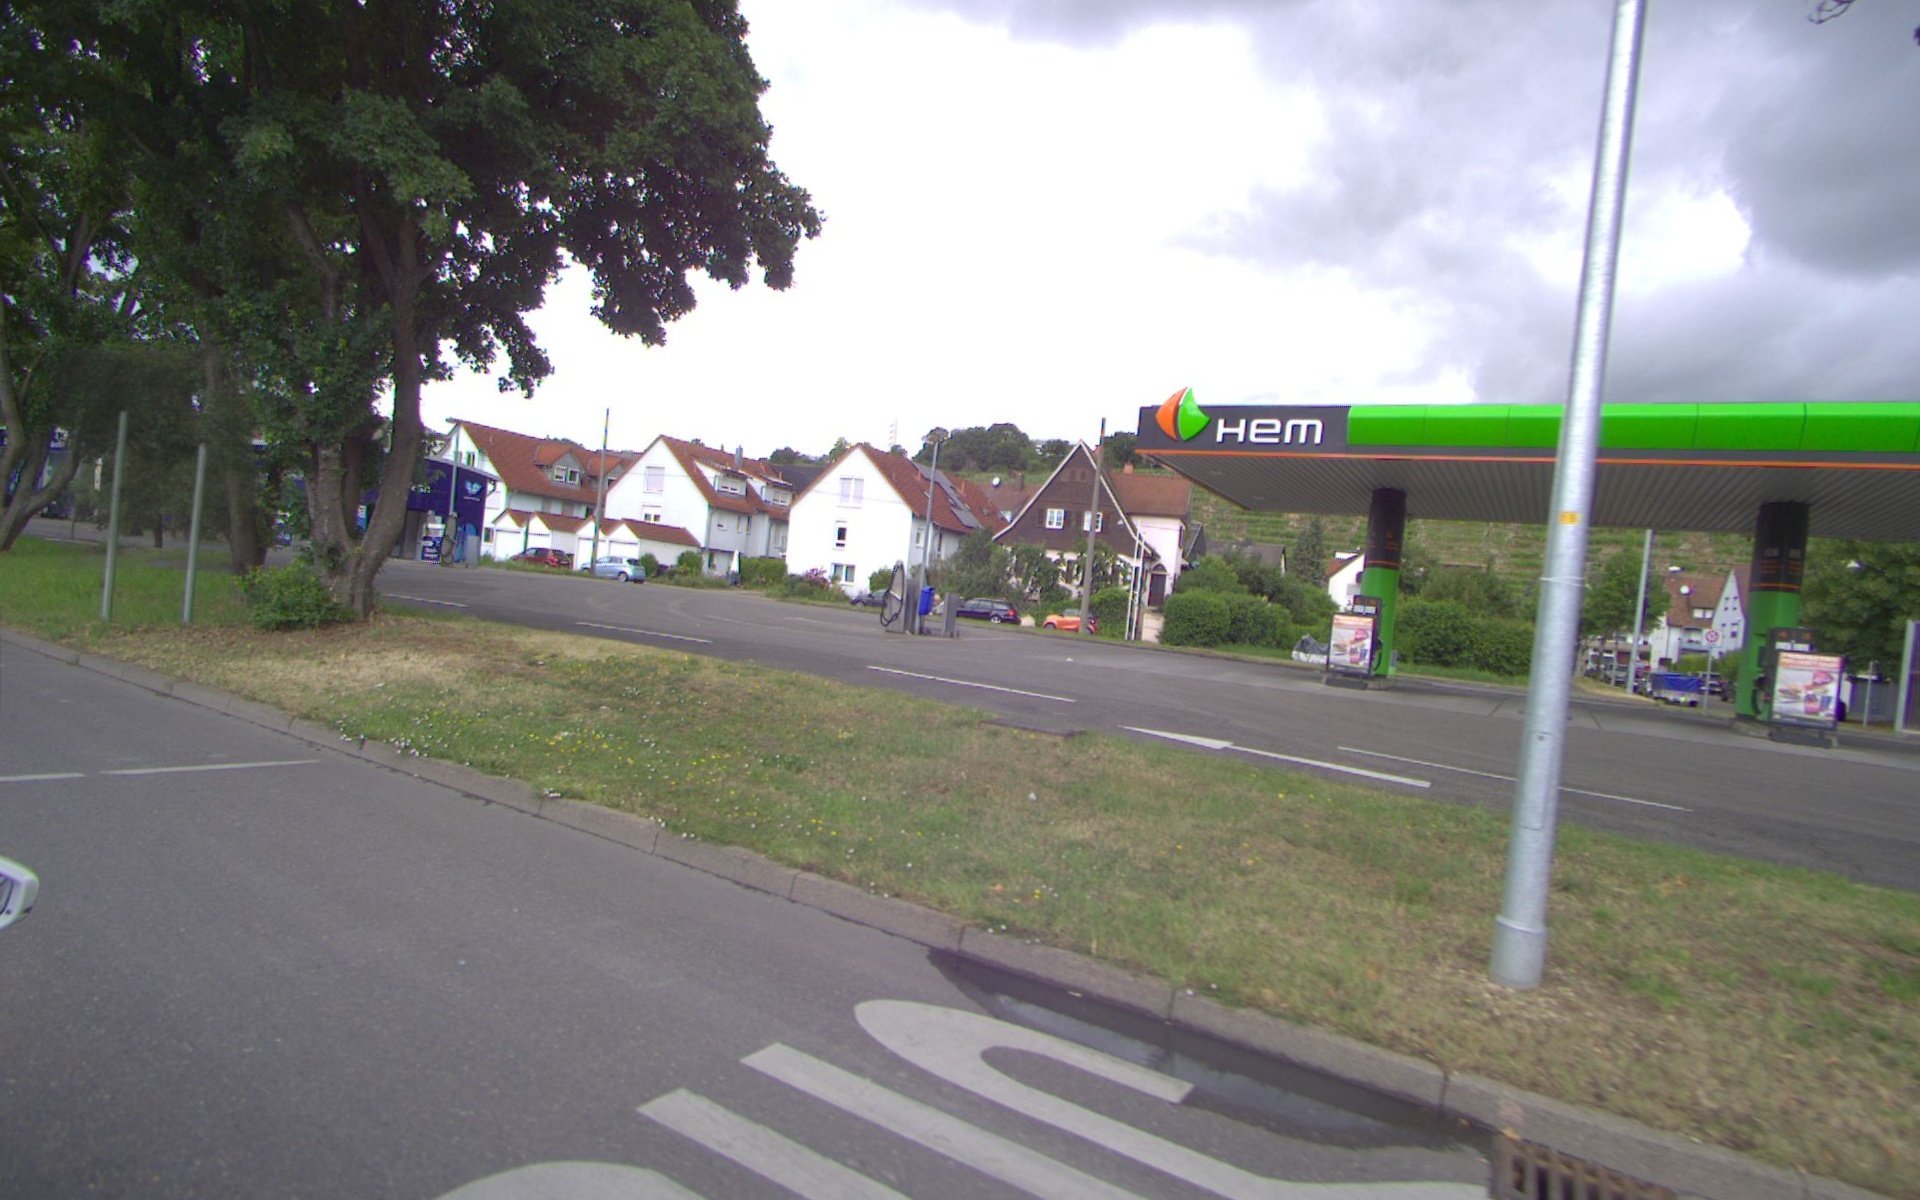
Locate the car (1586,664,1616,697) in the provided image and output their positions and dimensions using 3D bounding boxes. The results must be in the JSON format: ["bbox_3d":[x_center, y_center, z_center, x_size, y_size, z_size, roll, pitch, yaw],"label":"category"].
[{"bbox_3d":[51.498,6.483,80.832,1.641,2.369,3.874,6,-2,30],"label":"car"}]

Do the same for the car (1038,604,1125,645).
[{"bbox_3d":[6.149,1.229,50.735,3.925,1.481,2.002,7,-2,19],"label":"car"}]

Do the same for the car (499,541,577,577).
[{"bbox_3d":[-25.505,-2.495,60.884,3.924,1.593,1.788,7,-2,15],"label":"car"}]

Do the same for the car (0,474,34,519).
[{"bbox_3d":[-42.567,-4.650,43.396,1.722,1.845,4.373,6,1,-12],"label":"car"}]

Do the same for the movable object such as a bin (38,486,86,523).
[{"bbox_3d":[-40.944,-4.342,45.860,1.363,1.493,1.160,6,1,27],"label":"movable object such as a bin"}]

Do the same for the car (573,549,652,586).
[{"bbox_3d":[-20.422,-1.889,59.169,3.924,1.593,1.788,7,-2,14],"label":"car"}]

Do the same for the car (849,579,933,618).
[{"bbox_3d":[-3.680,-0.058,53.822,3.925,1.481,2.002,7,-2,19],"label":"car"}]

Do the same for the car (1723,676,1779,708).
[{"bbox_3d":[49.003,5.666,62.397,1.966,1.557,3.992,6,1,29],"label":"car"}]

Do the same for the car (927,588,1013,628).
[{"bbox_3d":[0.525,0.417,52.367,3.925,1.481,2.002,7,-2,19],"label":"car"}]

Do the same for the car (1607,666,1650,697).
[{"bbox_3d":[37.727,4.621,56.845,1.641,1.420,3.874,6,-2,30],"label":"car"}]

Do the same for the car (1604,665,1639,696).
[{"bbox_3d":[46.370,5.660,70.585,1.641,1.896,3.874,6,-2,30],"label":"car"}]

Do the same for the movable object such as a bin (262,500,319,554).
[{"bbox_3d":[-25.362,-2.754,38.118,1.430,1.842,1.160,6,1,27],"label":"movable object such as a bin"}]

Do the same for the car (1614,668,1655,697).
[{"bbox_3d":[40.652,4.984,60.697,1.641,1.420,3.874,6,-2,30],"label":"car"}]

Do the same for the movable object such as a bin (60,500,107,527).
[{"bbox_3d":[-38.528,-3.808,44.242,1.167,0.989,1.160,6,1,27],"label":"movable object such as a bin"}]

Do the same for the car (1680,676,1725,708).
[{"bbox_3d":[55.053,6.850,74.630,1.966,2.037,3.997,6,-2,29],"label":"car"}]

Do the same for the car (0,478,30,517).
[{"bbox_3d":[-45.592,-4.914,45.936,1.805,1.719,4.212,7,1,13],"label":"car"}]
